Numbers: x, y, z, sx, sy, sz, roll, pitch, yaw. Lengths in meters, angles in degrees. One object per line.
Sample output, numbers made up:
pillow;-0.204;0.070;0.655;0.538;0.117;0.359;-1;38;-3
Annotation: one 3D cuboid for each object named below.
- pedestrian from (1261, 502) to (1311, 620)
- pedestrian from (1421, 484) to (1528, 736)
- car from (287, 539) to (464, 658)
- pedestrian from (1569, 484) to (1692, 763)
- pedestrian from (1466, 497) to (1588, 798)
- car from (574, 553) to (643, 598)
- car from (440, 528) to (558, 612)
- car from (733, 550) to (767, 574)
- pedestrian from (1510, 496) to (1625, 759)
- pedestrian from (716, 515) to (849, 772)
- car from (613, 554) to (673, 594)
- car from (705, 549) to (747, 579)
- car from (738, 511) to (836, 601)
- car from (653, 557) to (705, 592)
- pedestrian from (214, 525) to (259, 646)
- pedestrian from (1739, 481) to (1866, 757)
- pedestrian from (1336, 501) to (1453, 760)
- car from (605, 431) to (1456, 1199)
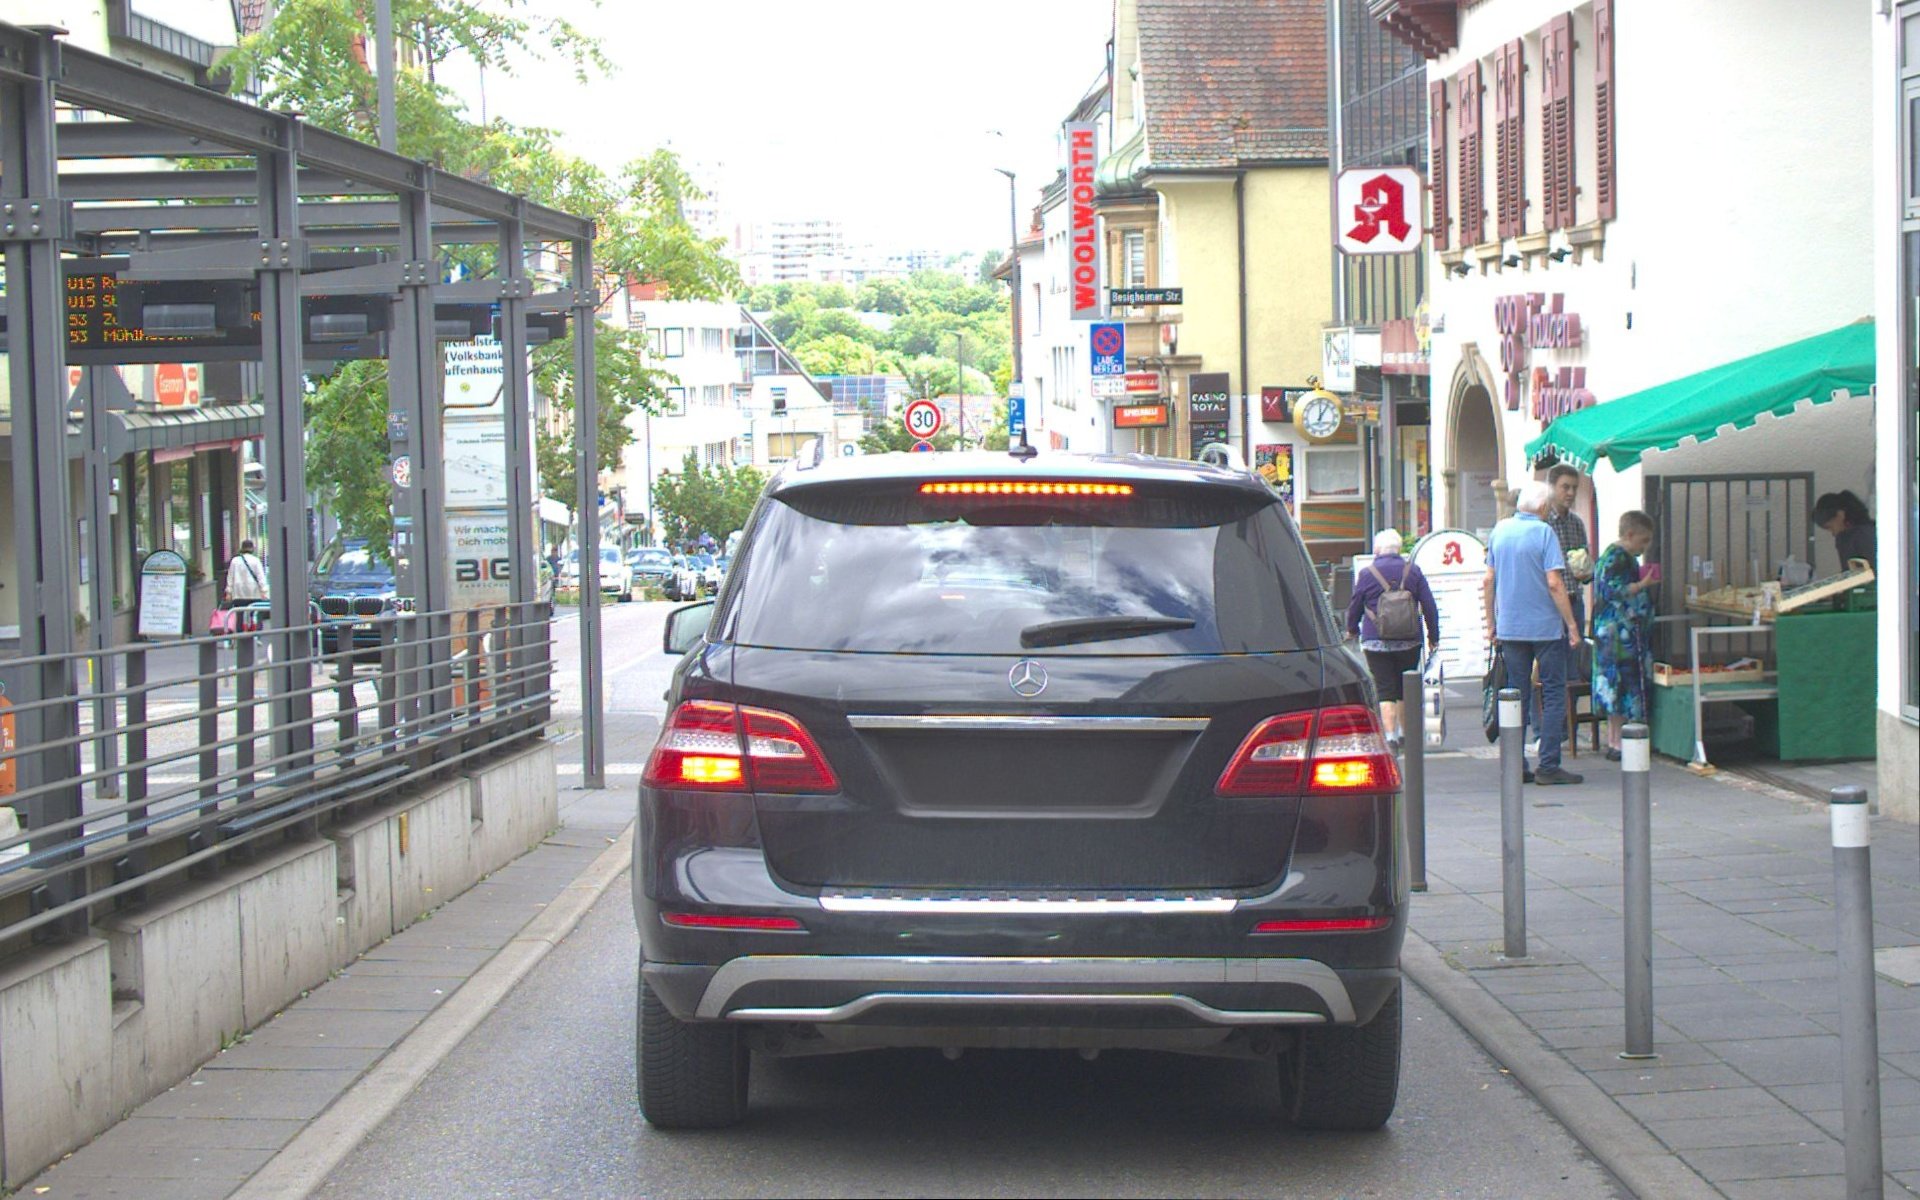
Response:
pedestrian;4.699;-0.564;49.616;0.606;1.683;0.724;-1;1;-1
pedestrian;3.745;0.064;25.057;0.639;1.803;0.685;1;1;-1
car;-7.855;-0.053;46.517;1.689;1.484;3.979;1;1;0
pedestrian;4.142;0.137;21.255;0.573;1.683;0.566;-1;1;-6
pedestrian;3.306;0.267;20.063;0.542;1.720;0.528;-2;1;-6
car;-8.824;-0.631;86.476;1.388;1.066;3.113;-1;1;0
car;-8.528;-0.577;63.822;1.660;1.484;3.748;1;1;0
car;-9.788;-1.791;160.171;1.388;1.066;3.113;-1;1;0
pedestrian;3.936;0.172;22.298;0.573;1.683;0.566;1;1;-6
pedestrian;-1.184;0.282;23.088;0.765;1.683;0.727;1;1;6
car;-9.056;-0.741;98.331;1.388;1.066;3.113;-1;1;0
car;-9.032;-1.399;132.893;1.388;1.066;3.113;-1;1;0
car;-3.400;-0.878;68.034;1.770;1.707;4.000;1;1;-1
car;-9.116;-0.832;111.671;1.388;1.066;3.113;-1;1;0
pedestrian;-10.179;-0.211;48.369;0.513;1.683;0.541;1;1;-1
pedestrian;5.238;0.111;21.393;0.573;1.683;0.566;-1;1;-6
pedestrian;2.861;0.195;22.683;0.621;1.683;0.566;1;1;-6
car;0.090;0.464;9.758;1.900;1.741;4.001;1;1;-2
